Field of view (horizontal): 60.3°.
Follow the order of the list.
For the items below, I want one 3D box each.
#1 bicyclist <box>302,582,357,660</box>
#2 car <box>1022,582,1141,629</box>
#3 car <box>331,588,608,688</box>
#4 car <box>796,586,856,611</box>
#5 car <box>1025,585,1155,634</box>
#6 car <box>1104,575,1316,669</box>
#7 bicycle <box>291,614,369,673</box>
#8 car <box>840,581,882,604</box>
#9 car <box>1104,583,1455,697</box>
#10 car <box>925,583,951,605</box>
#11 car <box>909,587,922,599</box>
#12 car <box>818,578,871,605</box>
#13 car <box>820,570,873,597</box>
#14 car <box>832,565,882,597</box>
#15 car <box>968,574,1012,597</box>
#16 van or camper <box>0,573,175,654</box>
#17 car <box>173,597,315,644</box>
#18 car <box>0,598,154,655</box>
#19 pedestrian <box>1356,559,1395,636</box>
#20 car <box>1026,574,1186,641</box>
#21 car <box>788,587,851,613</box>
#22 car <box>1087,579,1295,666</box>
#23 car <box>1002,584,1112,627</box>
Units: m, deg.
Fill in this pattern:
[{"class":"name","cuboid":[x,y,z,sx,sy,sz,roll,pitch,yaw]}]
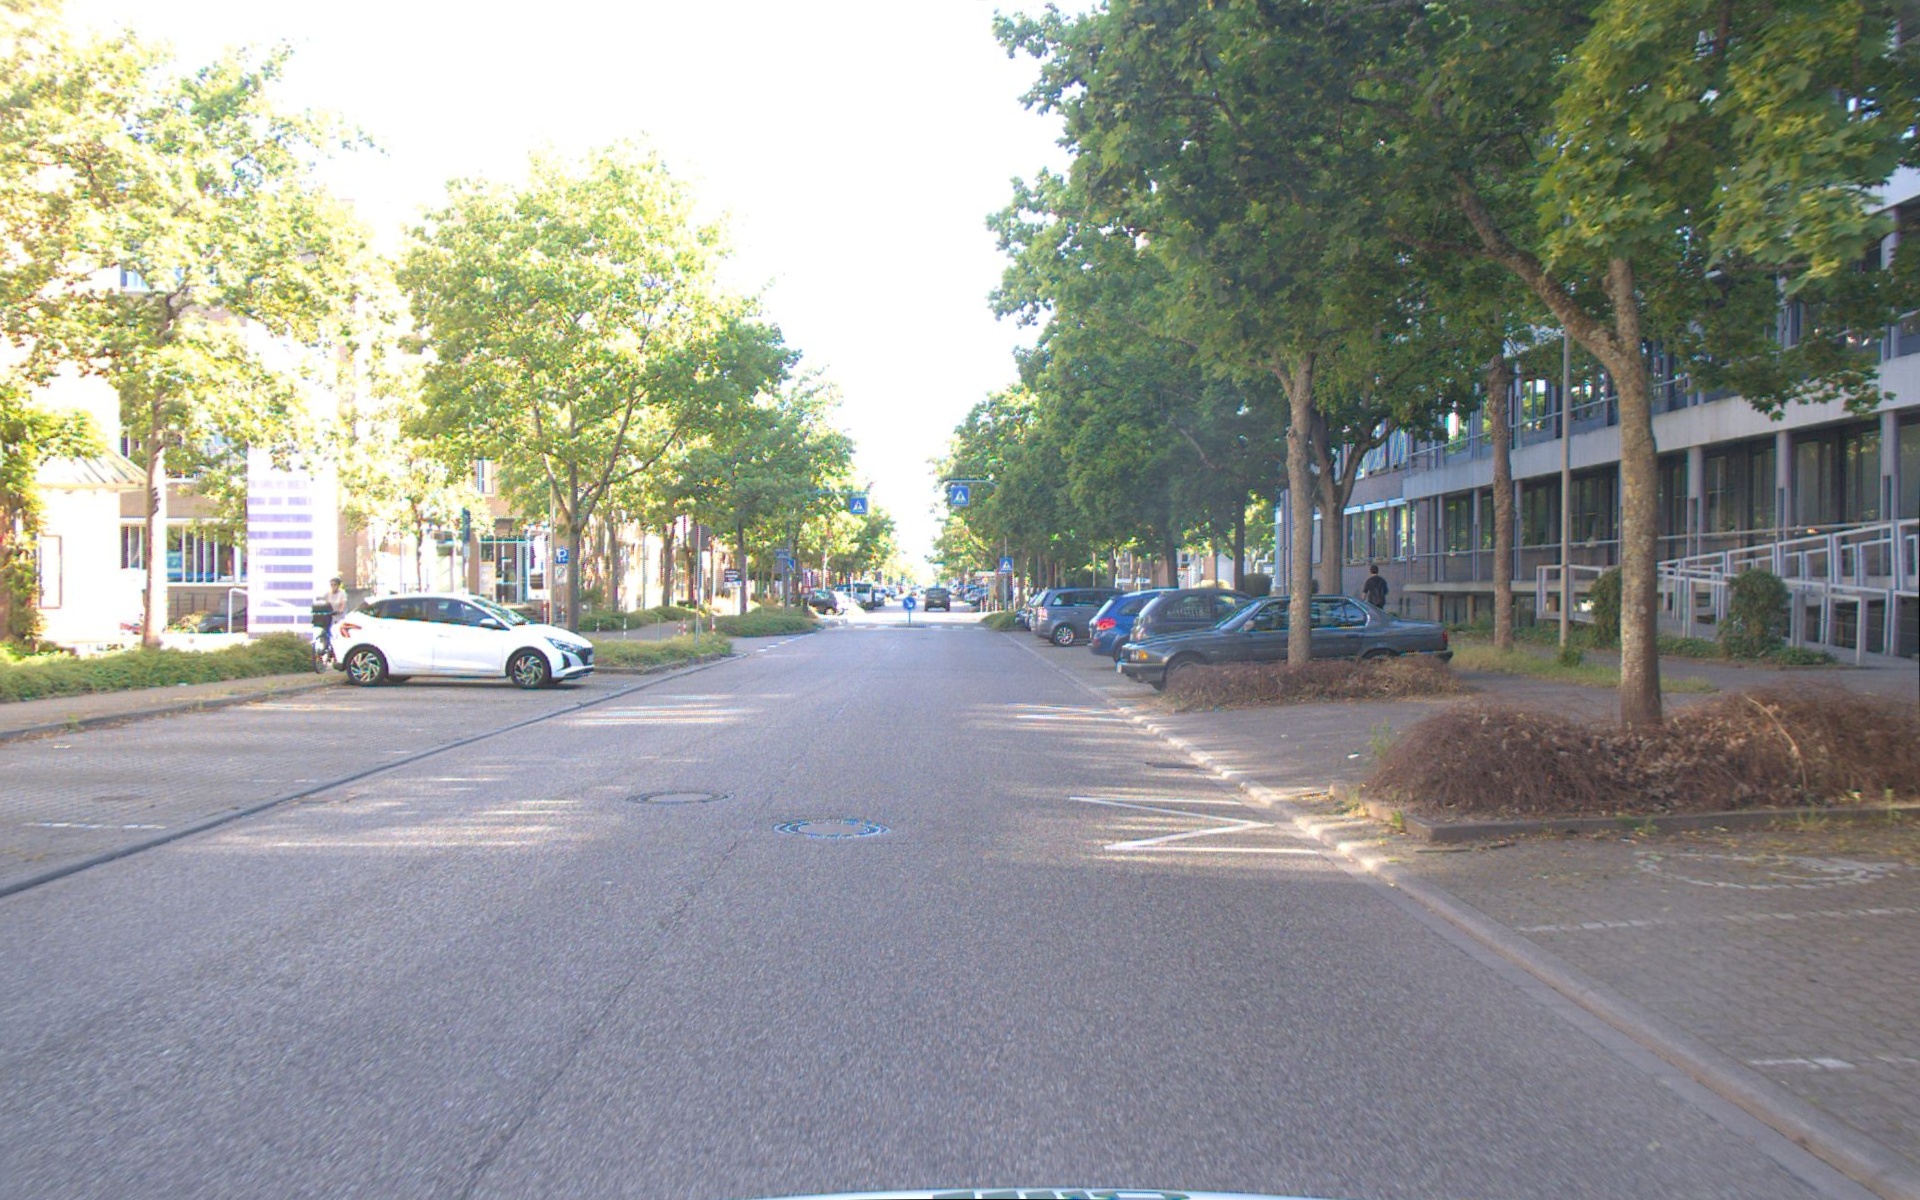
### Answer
[{"class":"bicyclist","cuboid":[-11.284,0.365,29.623,0.593,1.377,0.913,0,0,3]},{"class":"car","cuboid":[4.415,0.200,60.543,4.108,1.563,1.811,-2,0,-4]},{"class":"car","cuboid":[-7.807,0.589,26.593,3.906,1.512,1.806,1,0,-2]},{"class":"car","cuboid":[-8.586,-0.101,105.973,3.775,1.499,1.810,1,0,-7]},{"class":"car","cuboid":[4.352,0.293,55.722,4.108,1.474,1.811,-2,0,-4]},{"class":"car","cuboid":[4.524,0.386,30.332,3.567,1.541,1.812,-2,0,-1]},{"class":"bicycle","cuboid":[-11.279,0.758,29.676,0.593,0.999,1.864,0,0,3]},{"class":"car","cuboid":[-9.320,-0.712,156.204,3.907,2.049,1.999,-1,0,-3]},{"class":"car","cuboid":[4.633,0.561,24.487,4.729,1.444,2.031,-2,0,-3]},{"class":"car","cuboid":[-1.701,-0.467,128.129,1.953,1.668,3.999,1,0,-1]},{"class":"car","cuboid":[-6.401,-1.005,237.726,1.776,1.551,4.000,-1,0,0]},{"class":"car","cuboid":[-8.958,-0.669,128.340,3.903,2.049,2.001,-1,0,3]},{"class":"car","cuboid":[-9.013,-1.301,131.702,3.903,2.049,2.001,-1,0,3]},{"class":"car","cuboid":[-8.528,-1.538,136.836,3.903,2.586,1.863,1,0,3]},{"class":"car","cuboid":[2.715,-1.355,150.820,3.907,2.049,1.999,-1,0,-3]},{"class":"van or camper","cuboid":[-30.878,0.449,58.313,5.260,2.721,2.180,-1,2,-2]},{"class":"car","cuboid":[-25.342,0.708,58.629,4.106,1.502,2.000,-1,2,-1]},{"class":"car","cuboid":[-26.644,0.801,49.436,4.106,1.503,1.999,-2,-3,-1]},{"class":"pedestrian","cuboid":[9.855,-0.064,39.263,0.595,1.776,1.191,-1,0,-1]},{"class":"car","cuboid":[4.122,0.203,47.031,4.265,1.733,1.811,-2,0,-4]},{"class":"car","cuboid":[-8.607,0.010,101.373,3.773,1.499,1.811,1,0,-5]},{"class":"car","cuboid":[4.538,0.427,32.891,3.868,1.541,1.813,-2,0,0]},{"class":"car","cuboid":[3.791,0.212,65.012,4.108,1.498,1.811,-2,0,-4]}]
